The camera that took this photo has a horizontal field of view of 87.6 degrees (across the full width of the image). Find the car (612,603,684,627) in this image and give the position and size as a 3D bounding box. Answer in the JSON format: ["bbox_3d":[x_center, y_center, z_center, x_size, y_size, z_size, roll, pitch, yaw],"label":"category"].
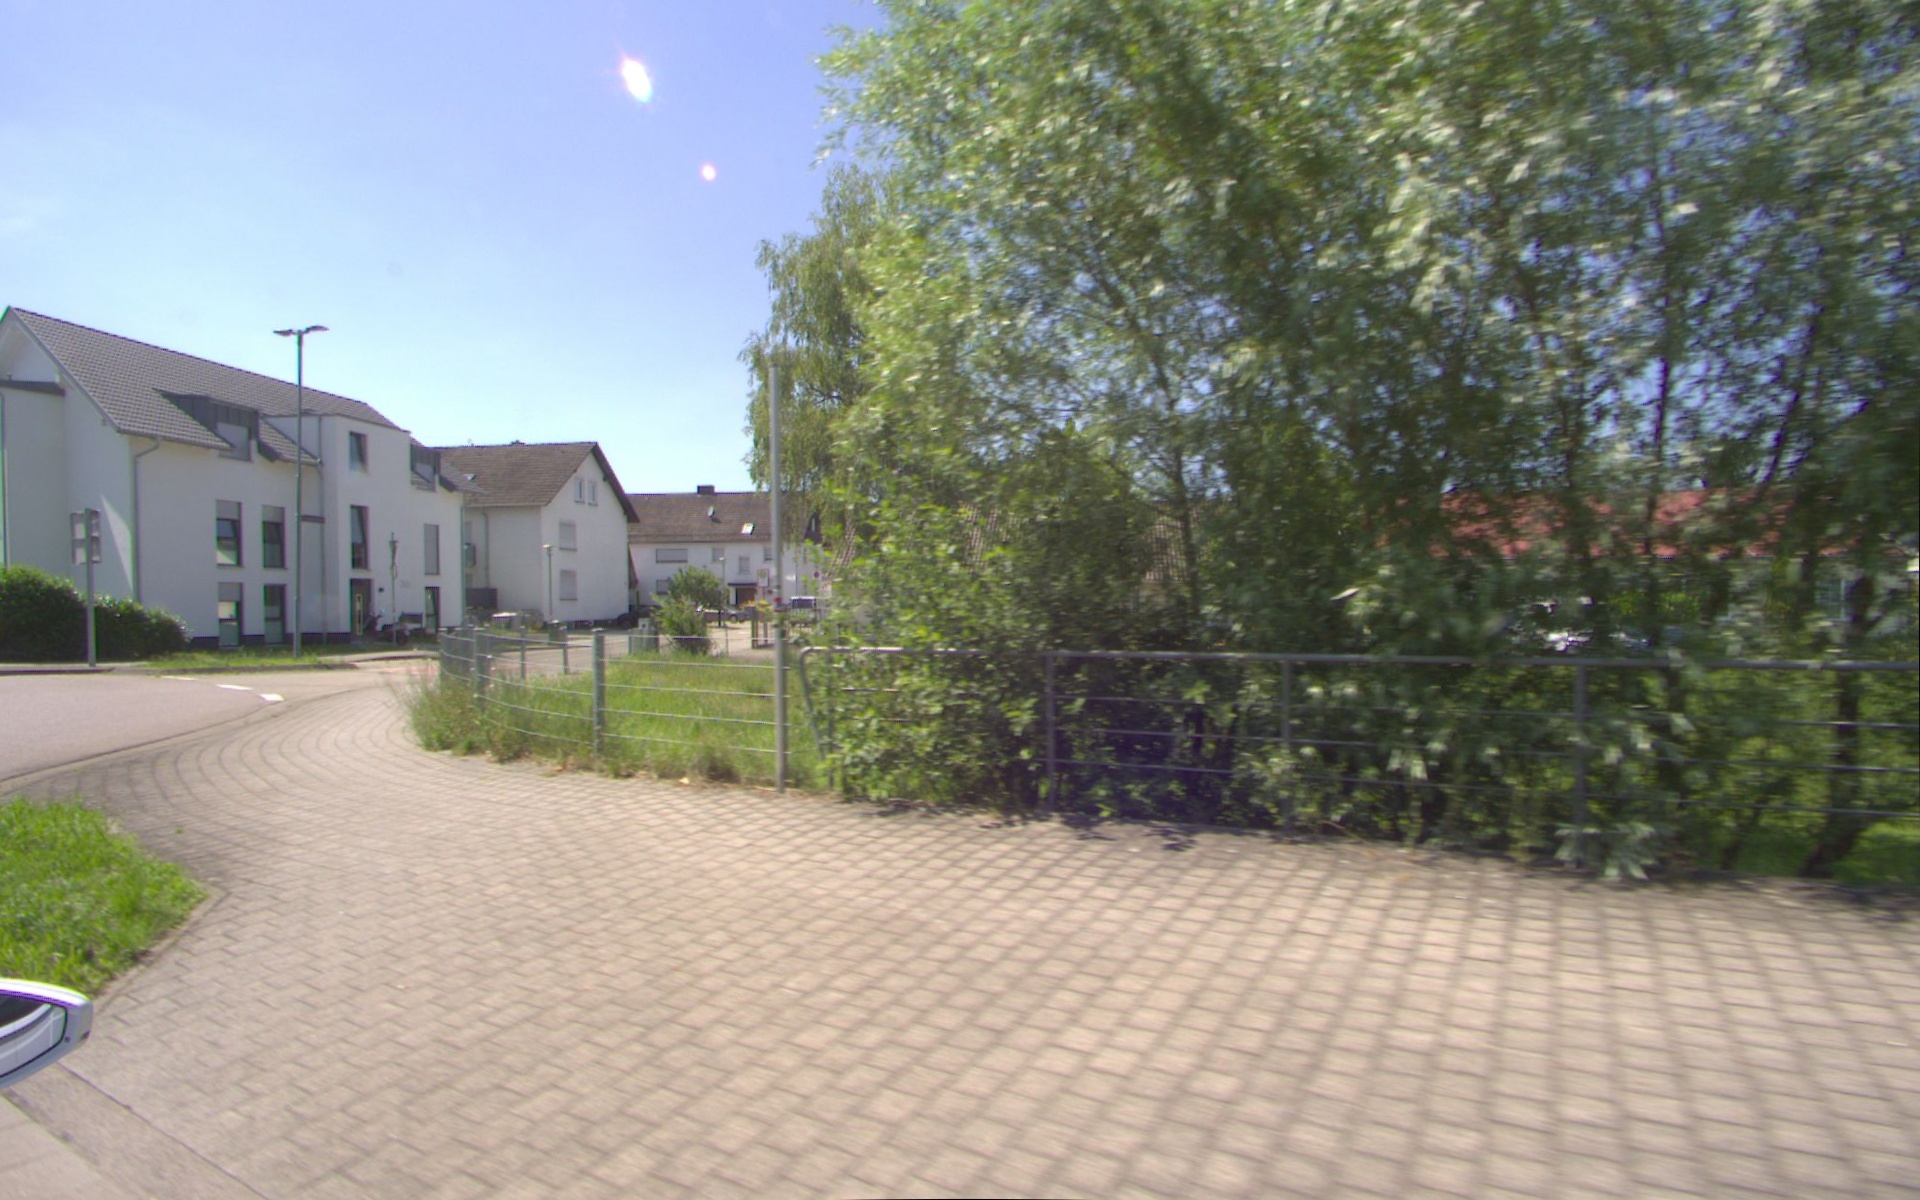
[{"bbox_3d":[-19.184,0.916,61.613,3.922,1.402,1.660,0,0,5],"label":"car"}]

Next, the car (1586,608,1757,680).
[{"bbox_3d":[21.777,1.304,30.940,2.029,2.039,4.934,0,-1,4],"label":"car"}]

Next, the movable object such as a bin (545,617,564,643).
[{"bbox_3d":[-17.675,1.305,43.631,0.635,1.098,0.458,1,1,15],"label":"movable object such as a bin"}]

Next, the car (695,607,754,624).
[{"bbox_3d":[-17.447,1.119,74.321,3.922,1.206,1.840,1,0,5],"label":"car"}]

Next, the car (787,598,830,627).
[{"bbox_3d":[-9.947,0.850,65.951,1.821,1.810,4.000,0,-1,7],"label":"car"}]

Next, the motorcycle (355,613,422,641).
[{"bbox_3d":[-21.858,1.022,38.295,2.324,1.026,0.671,0,-1,11],"label":"motorcycle"}]
